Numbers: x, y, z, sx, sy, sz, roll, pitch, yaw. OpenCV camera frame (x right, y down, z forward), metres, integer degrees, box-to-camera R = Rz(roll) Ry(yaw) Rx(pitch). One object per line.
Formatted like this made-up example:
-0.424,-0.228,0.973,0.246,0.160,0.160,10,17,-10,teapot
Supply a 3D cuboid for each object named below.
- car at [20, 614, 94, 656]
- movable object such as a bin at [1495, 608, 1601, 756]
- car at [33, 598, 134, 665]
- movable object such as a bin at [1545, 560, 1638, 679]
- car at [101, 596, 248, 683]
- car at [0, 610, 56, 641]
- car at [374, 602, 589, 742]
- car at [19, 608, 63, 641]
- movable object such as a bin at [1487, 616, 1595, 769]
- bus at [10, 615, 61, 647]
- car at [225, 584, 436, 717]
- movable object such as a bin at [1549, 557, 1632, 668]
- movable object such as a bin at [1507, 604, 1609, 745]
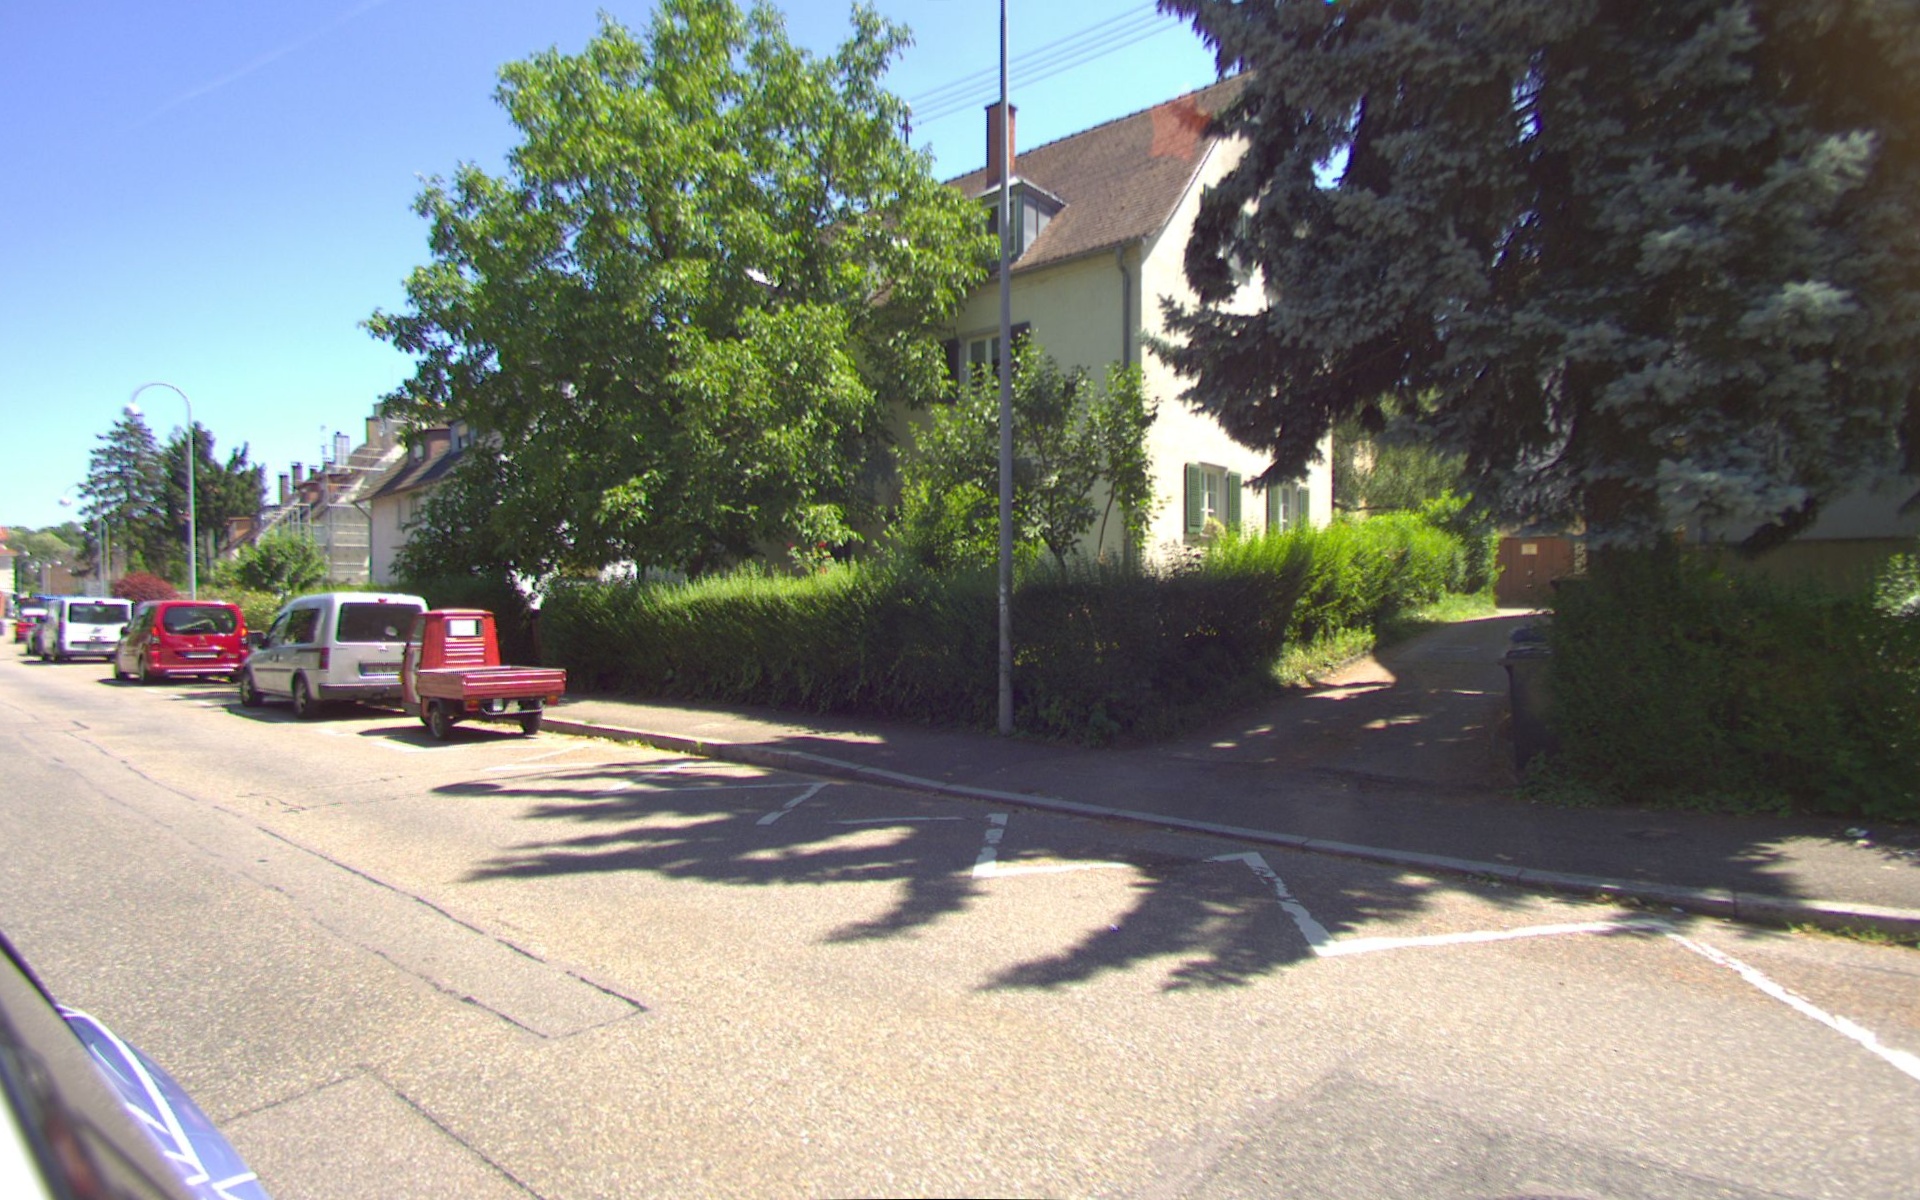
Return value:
-32.396,1.230,36.267,4.237,1.395,1.679,-1,-2,44,car
4.704,0.632,8.097,0.641,1.090,0.481,-2,3,39,movable object such as a bin
-27.207,0.919,31.347,4.980,1.895,1.866,-1,-1,43,car
6.968,0.200,11.174,0.565,1.236,0.707,-6,3,-42,movable object such as a bin
-17.310,0.814,22.232,4.456,1.740,1.739,-1,-1,41,car
-46.784,1.259,50.737,1.737,1.489,4.068,2,-1,-35,car
-5.942,0.816,12.465,2.840,1.515,1.396,-1,-2,42,car
-49.683,1.323,54.785,1.702,1.749,3.892,0,-1,-42,car
4.424,0.680,7.703,0.616,1.073,0.481,-2,3,39,movable object such as a bin
-105.032,3.430,115.136,2.865,3.103,12.592,-1,1,-36,bus
-9.747,0.698,15.527,4.353,1.765,1.630,-1,-1,42,car
7.326,0.133,11.759,0.549,1.236,0.670,-4,2,-42,movable object such as a bin
5.028,0.601,8.506,0.644,1.090,0.534,-2,3,39,movable object such as a bin
